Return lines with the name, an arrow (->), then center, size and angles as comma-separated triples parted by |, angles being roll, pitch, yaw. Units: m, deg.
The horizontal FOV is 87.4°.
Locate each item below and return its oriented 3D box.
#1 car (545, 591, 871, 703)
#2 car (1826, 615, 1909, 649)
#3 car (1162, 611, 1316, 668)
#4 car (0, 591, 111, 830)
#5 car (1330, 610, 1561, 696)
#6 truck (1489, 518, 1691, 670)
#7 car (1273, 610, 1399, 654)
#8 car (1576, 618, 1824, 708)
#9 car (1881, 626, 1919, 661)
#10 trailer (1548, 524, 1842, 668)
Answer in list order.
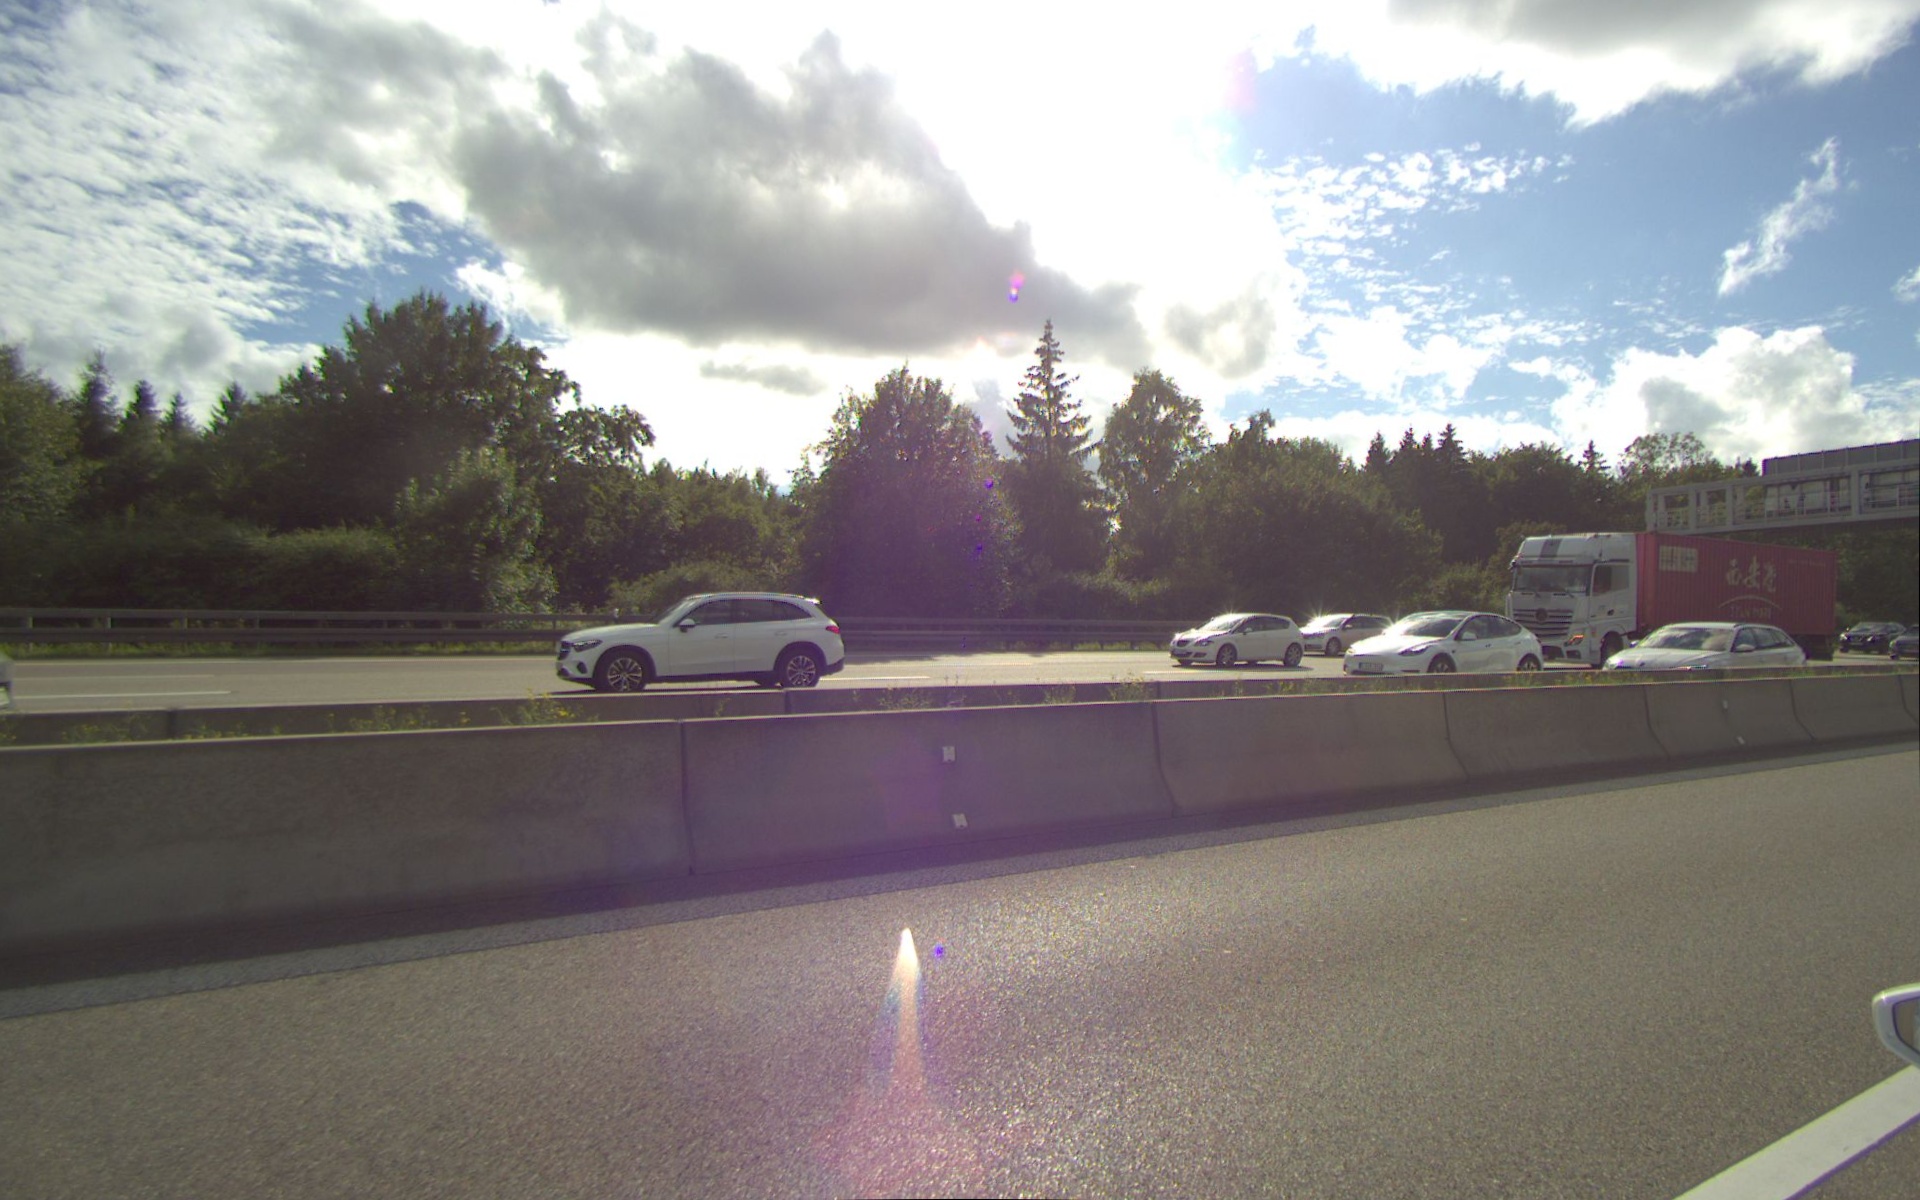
car -> -4.126, 0.732, 16.753 | 4.986, 1.639, 1.785 | 1, 0, -31
car -> 46.223, 1.648, 51.136 | 4.093, 1.634, 1.810 | 1, 0, -27
car -> 7.753, 1.085, 27.818 | 4.235, 1.445, 1.617 | 1, 0, -31
car -> -7.955, 0.602, 5.627 | 4.566, 1.380, 1.983 | 1, 0, -31
car -> 10.014, 1.041, 20.600 | 4.937, 1.546, 1.848 | 1, 0, -31
truck -> 18.904, -0.116, 30.105 | 5.695, 4.161, 2.727 | 1, 0, -30
car -> 13.426, 1.126, 35.822 | 4.229, 1.457, 1.984 | 1, 0, -31
car -> 13.704, 1.109, 18.544 | 4.789, 1.461, 1.763 | 1, 0, -28
car -> 42.204, 1.893, 44.006 | 3.952, 1.435, 1.630 | 1, 0, -30
trailer -> 24.850, 0.019, 33.539 | 13.256, 4.161, 2.726 | 1, 0, -30
